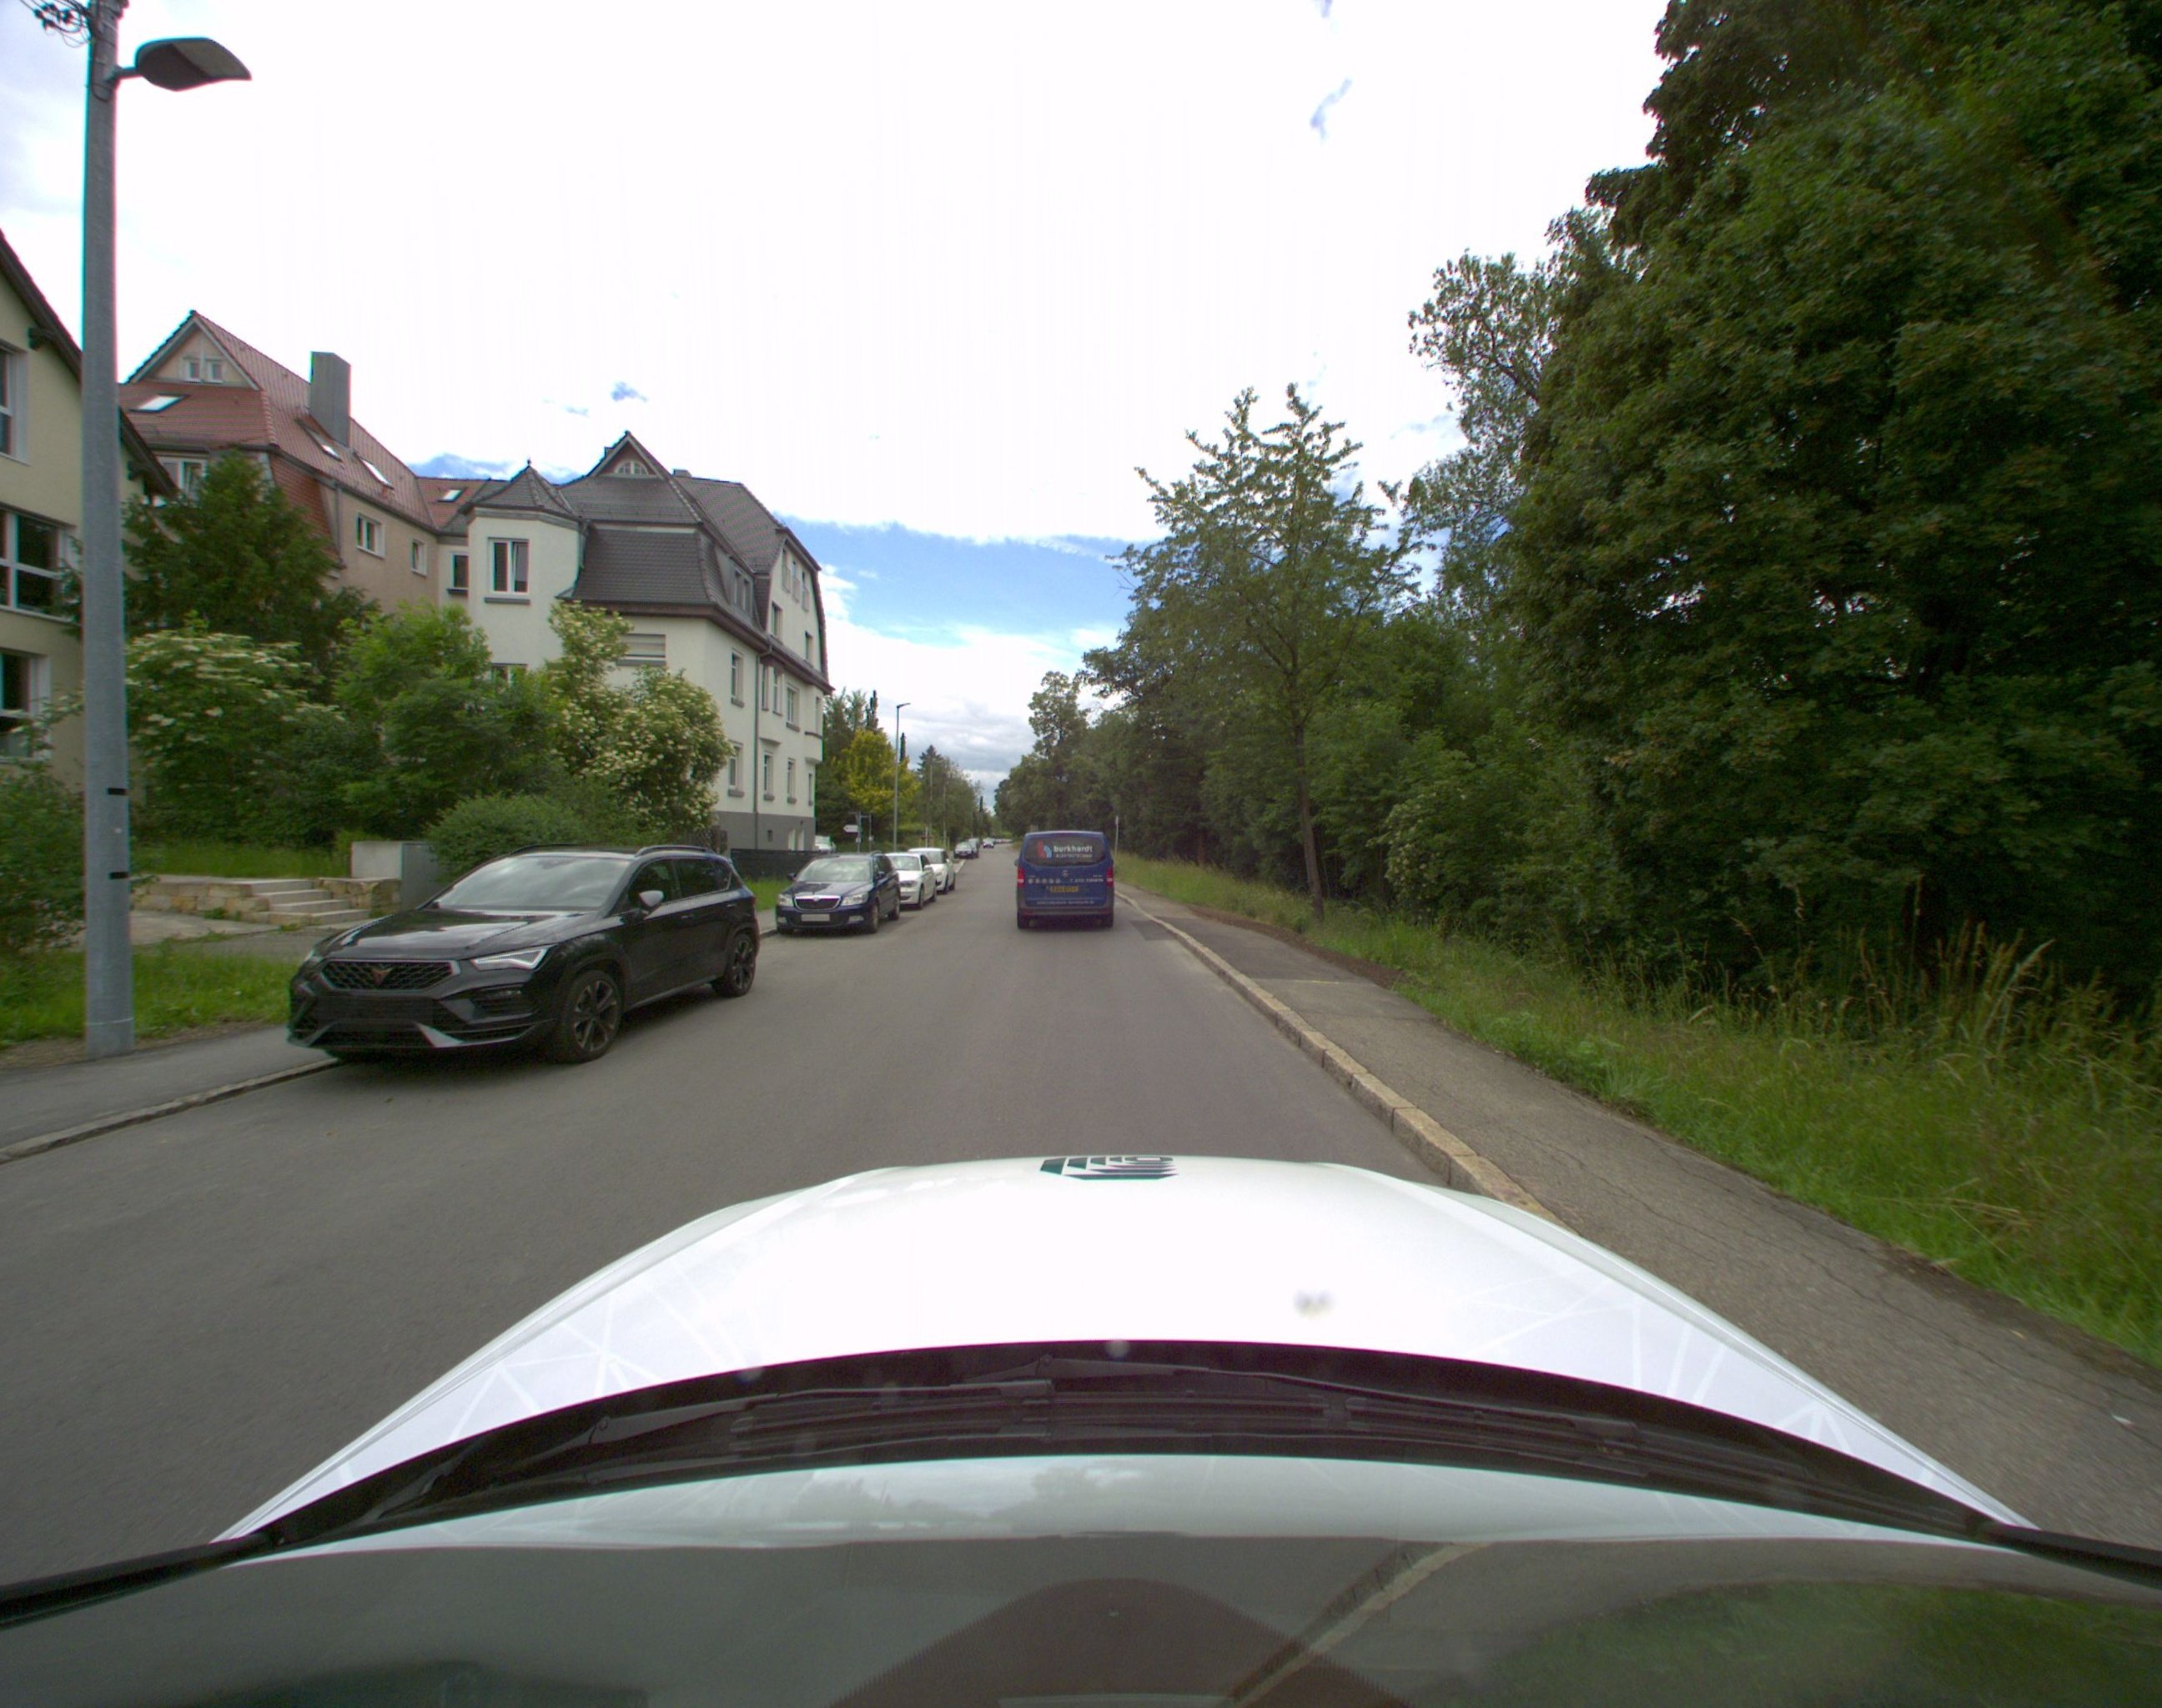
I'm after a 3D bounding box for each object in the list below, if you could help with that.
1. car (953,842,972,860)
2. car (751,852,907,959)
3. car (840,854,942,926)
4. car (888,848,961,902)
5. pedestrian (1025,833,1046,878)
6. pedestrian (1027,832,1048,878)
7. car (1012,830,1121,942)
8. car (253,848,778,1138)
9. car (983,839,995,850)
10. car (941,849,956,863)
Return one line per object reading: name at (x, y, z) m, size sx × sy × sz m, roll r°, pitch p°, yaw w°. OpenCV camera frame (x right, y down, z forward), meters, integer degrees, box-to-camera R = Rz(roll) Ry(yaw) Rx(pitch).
car at (-10.624, -0.321, 72.904) m, size 1.624 × 1.552 × 3.987 m, roll 0°, pitch 1°, yaw -10°
car at (-4.619, 0.838, 15.601) m, size 1.794 × 1.654 × 4.312 m, roll -1°, pitch 1°, yaw -3°
car at (-4.801, 0.828, 21.141) m, size 1.794 × 1.566 × 4.312 m, roll -1°, pitch 1°, yaw -3°
car at (-5.148, 0.627, 27.346) m, size 1.794 × 1.566 × 4.312 m, roll -1°, pitch 1°, yaw -3°
pedestrian at (-2.148, 0.093, 38.432) m, size 0.770 × 2.014 × 0.889 m, roll 4°, pitch -3°, yaw 1°
pedestrian at (-1.988, 0.059, 37.555) m, size 0.770 × 2.014 × 0.889 m, roll 4°, pitch -3°, yaw 1°
car at (-0.351, 0.493, 15.957) m, size 1.824 × 1.878 × 4.312 m, roll -1°, pitch 1°, yaw -3°
car at (-4.364, 0.872, 7.255) m, size 1.766 × 1.763 × 4.129 m, roll -1°, pitch 1°, yaw -1°
car at (-16.810, -1.749, 149.108) m, size 1.991 × 1.640 × 3.990 m, roll 4°, pitch -3°, yaw -6°
car at (-14.875, 0.176, 91.134) m, size 1.624 × 1.552 × 3.987 m, roll 0°, pitch 1°, yaw -10°
